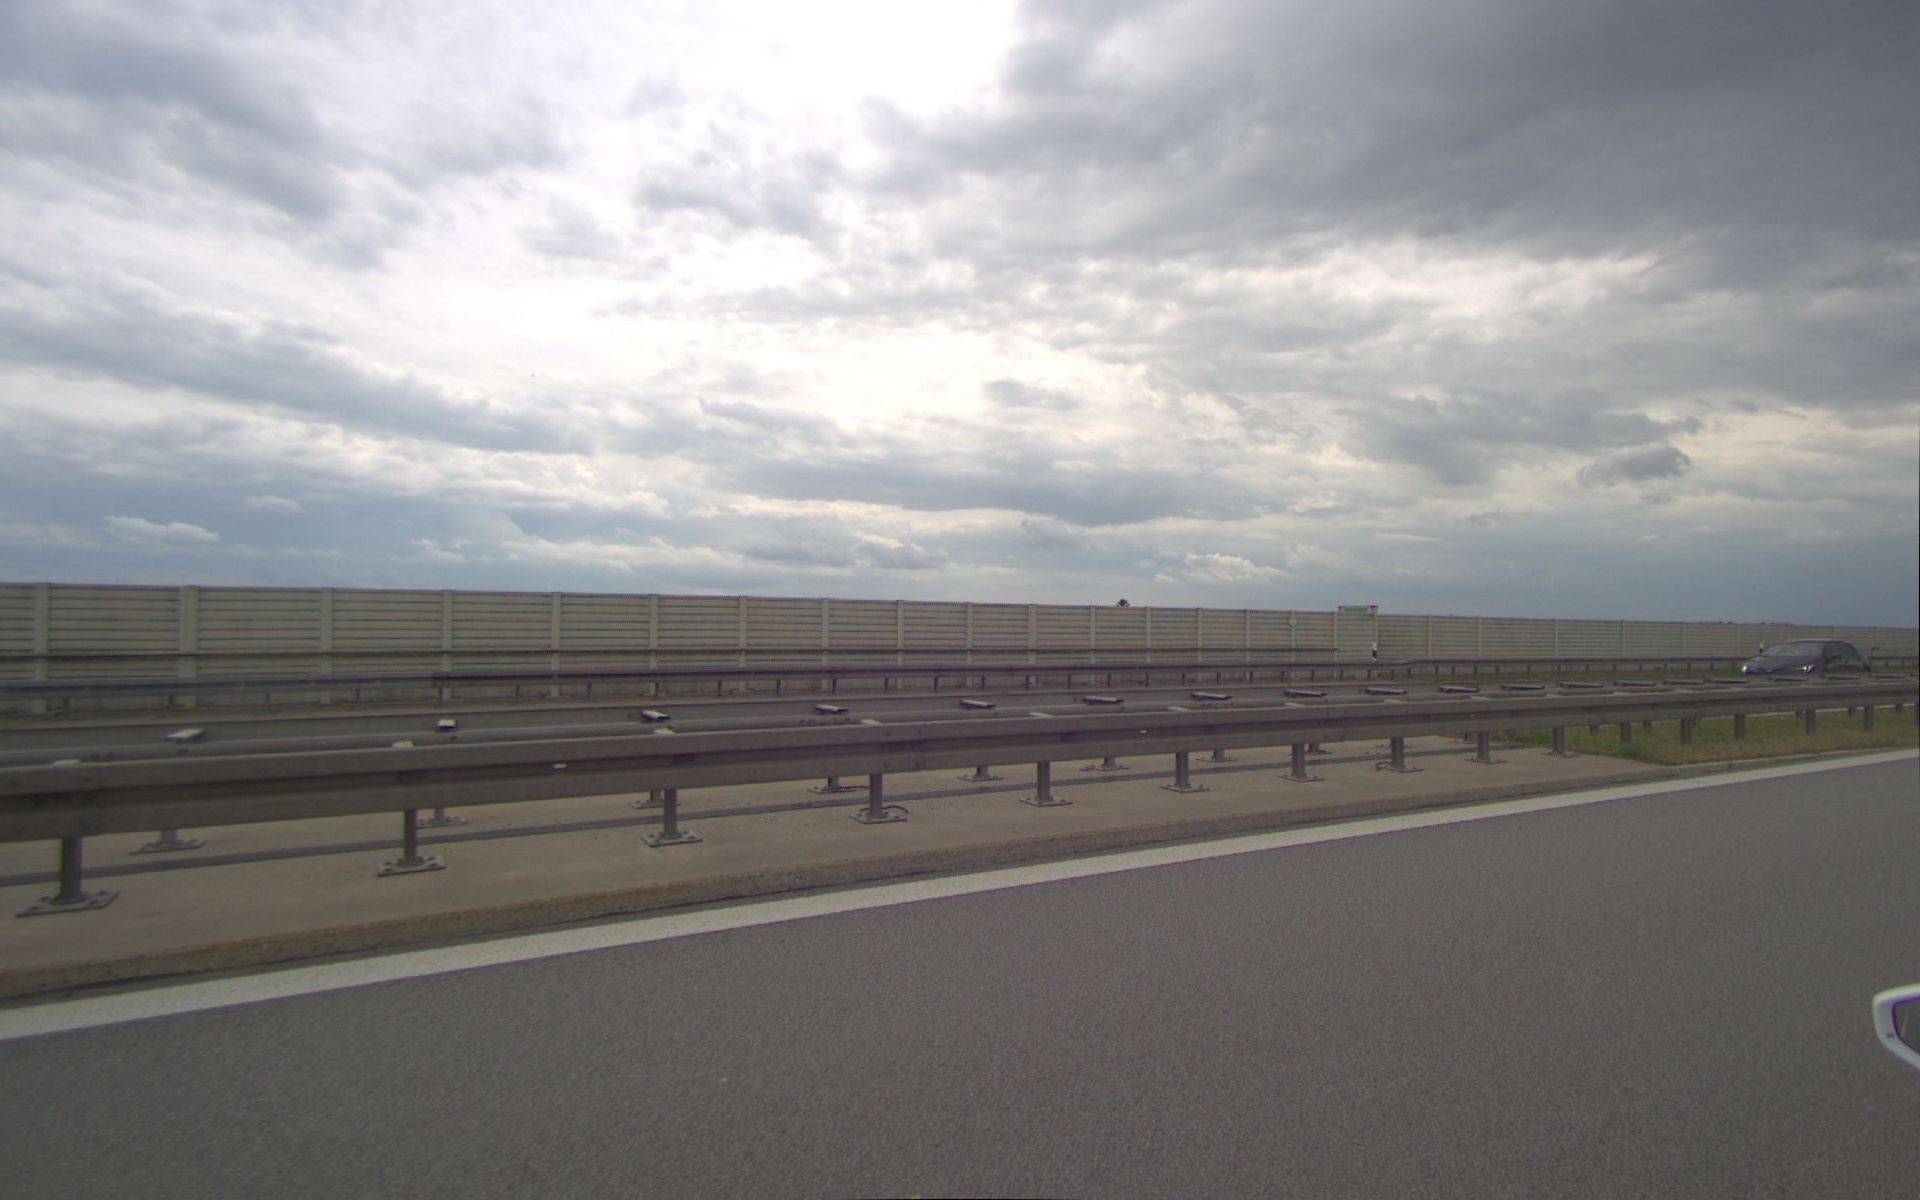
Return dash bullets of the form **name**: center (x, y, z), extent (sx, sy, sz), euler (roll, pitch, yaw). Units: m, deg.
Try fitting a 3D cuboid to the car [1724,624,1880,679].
- **car**: center (23.449, 1.440, 27.937), extent (4.628, 1.391, 1.789), euler (1, -6, -30)
